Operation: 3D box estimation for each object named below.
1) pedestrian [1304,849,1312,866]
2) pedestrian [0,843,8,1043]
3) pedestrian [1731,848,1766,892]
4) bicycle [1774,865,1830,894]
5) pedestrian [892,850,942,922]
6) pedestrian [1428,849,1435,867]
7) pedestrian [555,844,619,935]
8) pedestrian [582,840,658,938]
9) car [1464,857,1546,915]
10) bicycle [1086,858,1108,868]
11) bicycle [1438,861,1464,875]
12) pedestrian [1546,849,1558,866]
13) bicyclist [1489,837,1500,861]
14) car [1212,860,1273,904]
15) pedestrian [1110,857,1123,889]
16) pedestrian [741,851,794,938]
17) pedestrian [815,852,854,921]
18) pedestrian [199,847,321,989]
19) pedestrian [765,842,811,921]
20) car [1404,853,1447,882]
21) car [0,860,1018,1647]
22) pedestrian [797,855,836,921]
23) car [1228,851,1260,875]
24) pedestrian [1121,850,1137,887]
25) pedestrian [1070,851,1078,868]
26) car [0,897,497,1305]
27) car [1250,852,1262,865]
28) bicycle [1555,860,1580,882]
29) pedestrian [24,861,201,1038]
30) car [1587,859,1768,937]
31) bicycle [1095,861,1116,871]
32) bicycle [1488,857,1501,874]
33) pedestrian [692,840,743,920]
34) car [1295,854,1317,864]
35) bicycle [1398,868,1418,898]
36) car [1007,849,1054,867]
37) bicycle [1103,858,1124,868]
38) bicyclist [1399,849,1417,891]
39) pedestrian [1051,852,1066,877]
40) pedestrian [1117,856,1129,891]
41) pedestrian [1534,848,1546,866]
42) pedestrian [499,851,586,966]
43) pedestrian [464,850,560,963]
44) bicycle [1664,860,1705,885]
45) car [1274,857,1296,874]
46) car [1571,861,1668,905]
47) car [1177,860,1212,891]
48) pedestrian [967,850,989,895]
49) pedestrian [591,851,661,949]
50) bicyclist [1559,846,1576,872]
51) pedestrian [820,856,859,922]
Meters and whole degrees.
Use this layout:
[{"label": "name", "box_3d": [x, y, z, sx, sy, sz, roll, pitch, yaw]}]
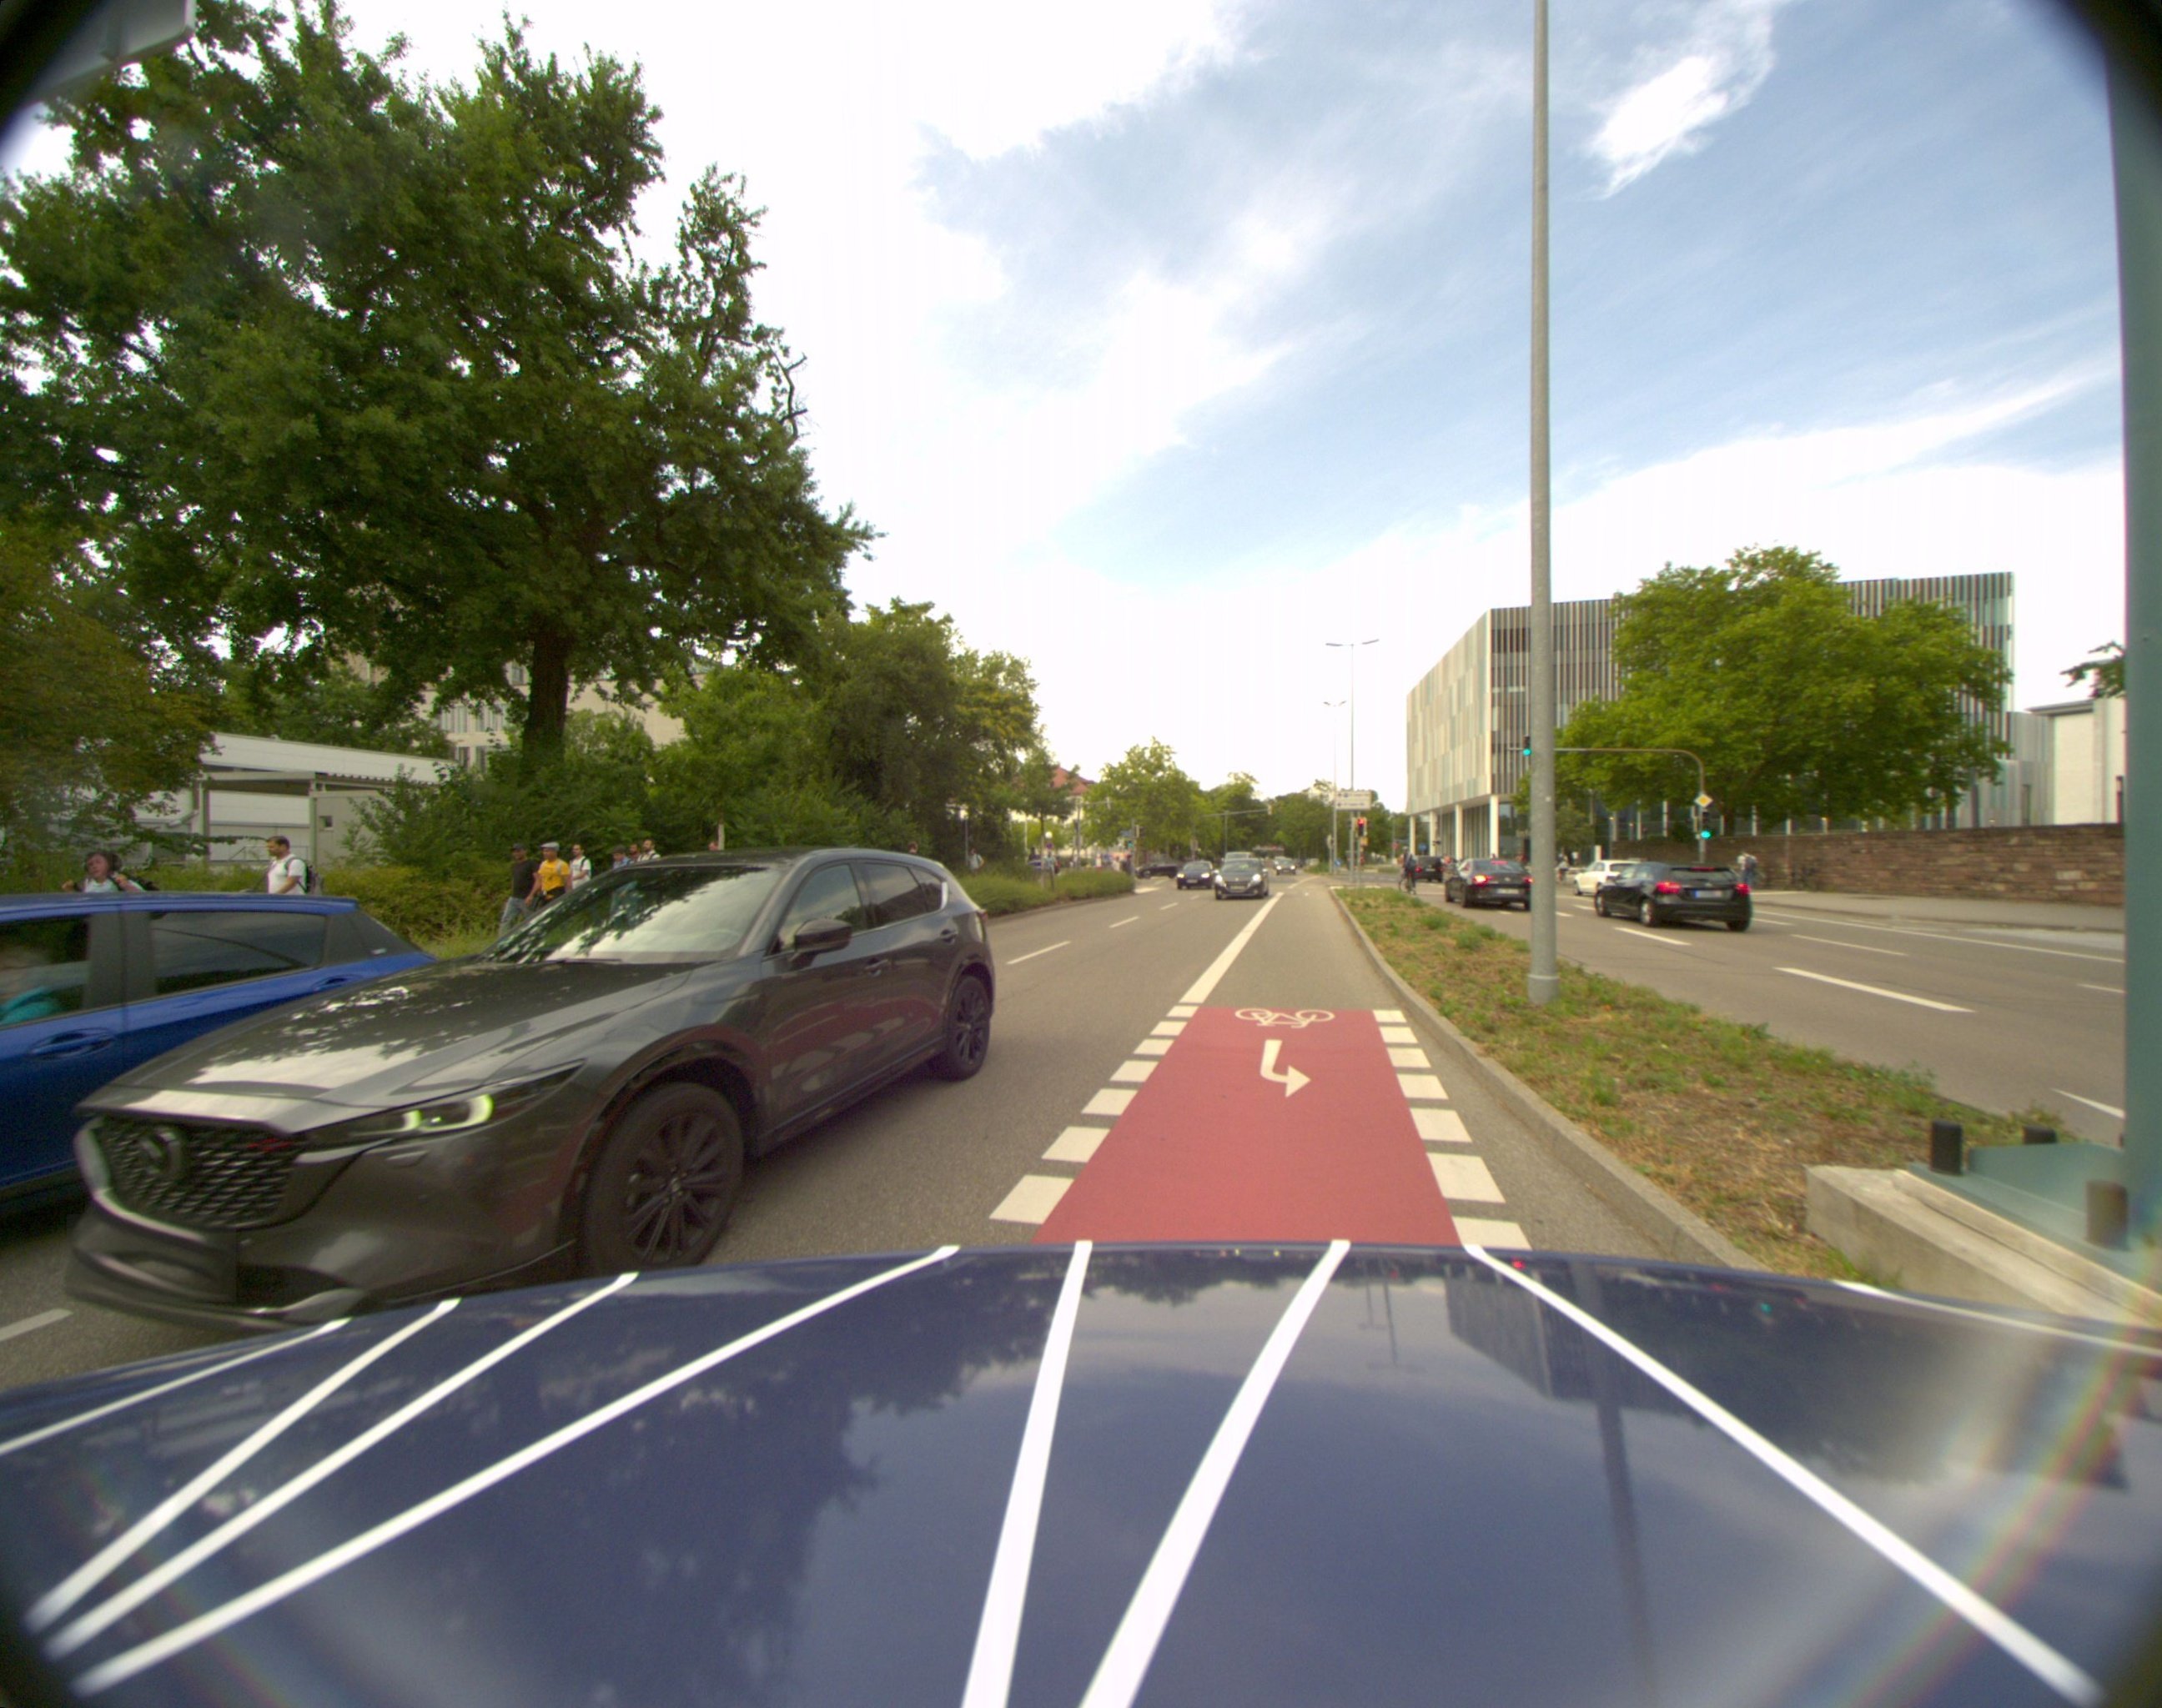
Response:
[{"label": "pedestrian", "box_3d": [24.469, 0.350, 81.997, 0.726, 1.843, 1.065, 0, 0, 12]}, {"label": "pedestrian", "box_3d": [-10.209, 0.806, 6.618, 0.657, 1.810, 0.813, 0, 1, 17]}, {"label": "pedestrian", "box_3d": [27.940, 0.655, 31.806, 0.747, 1.772, 0.782, -1, 2, -18]}, {"label": "bicycle", "box_3d": [28.121, 0.992, 29.669, 0.549, 1.052, 1.982, -3, -1, 10]}, {"label": "pedestrian", "box_3d": [-4.286, 0.807, 19.881, 0.934, 1.820, 0.889, 0, 1, 44]}, {"label": "pedestrian", "box_3d": [35.902, 0.422, 77.764, 0.511, 1.826, 0.625, 0, 0, 13]}, {"label": "pedestrian", "box_3d": [-9.479, 0.656, 14.607, 0.657, 1.689, 0.781, 0, 1, 15]}, {"label": "pedestrian", "box_3d": [-8.713, 0.643, 14.380, 0.657, 1.756, 0.959, -3, 0, 15]}, {"label": "car", "box_3d": [12.030, 0.829, 21.779, 1.803, 1.480, 4.413, 0, 0, 26]}, {"label": "bicycle", "box_3d": [1.820, 1.015, 86.492, 2.469, 1.136, 0.718, -1, 0, 15]}, {"label": "bicycle", "box_3d": [30.817, 1.133, 63.331, 1.894, 1.163, 0.607, 0, 0, -1]}, {"label": "pedestrian", "box_3d": [44.562, 0.348, 71.932, 0.731, 1.591, 0.677, -1, 1, -17]}, {"label": "bicyclist", "box_3d": [31.034, -0.349, 57.052, 0.619, 1.772, 0.812, 0, 1, 21]}, {"label": "car", "box_3d": [6.041, 0.985, 28.055, 1.658, 1.455, 4.006, -2, -1, 19]}, {"label": "pedestrian", "box_3d": [1.853, 0.981, 39.479, 0.546, 1.677, 0.637, 0, 1, 14]}, {"label": "pedestrian", "box_3d": [-6.405, 0.807, 15.565, 0.657, 1.735, 0.781, 0, 1, 15]}, {"label": "pedestrian", "box_3d": [-6.247, 0.806, 19.283, 0.582, 1.735, 0.790, 0, 1, 15]}, {"label": "pedestrian", "box_3d": [-10.518, 0.780, 9.751, 0.722, 1.734, 0.813, 0, 1, 17]}, {"label": "pedestrian", "box_3d": [-6.633, 0.613, 17.212, 0.625, 1.735, 0.781, 0, 1, 15]}, {"label": "car", "box_3d": [21.373, 0.795, 47.256, 1.803, 1.656, 4.306, 2, 1, 17]}, {"label": "car", "box_3d": [-2.043, 0.918, 4.136, 1.902, 1.639, 4.650, -2, 0, 15]}, {"label": "pedestrian", "box_3d": [-7.115, 0.884, 20.449, 0.657, 1.735, 0.781, 0, 1, 15]}, {"label": "car", "box_3d": [12.198, 0.662, 56.767, 1.996, 1.761, 4.005, 0, 0, 17]}, {"label": "pedestrian", "box_3d": [2.231, 0.662, 35.284, 0.602, 1.725, 0.655, 0, 1, 14]}, {"label": "pedestrian", "box_3d": [-0.771, 0.593, 87.387, 0.687, 1.951, 0.601, -2, 0, -26]}, {"label": "car", "box_3d": [-5.083, 1.037, 3.198, 1.700, 1.485, 3.837, 0, 0, 19]}, {"label": "car", "box_3d": [27.013, 0.710, 117.169, 1.793, 1.903, 4.004, 0, 0, 13]}, {"label": "bicycle", "box_3d": [26.713, 0.933, 41.721, 0.582, 1.164, 1.966, 0, 0, 15]}, {"label": "pedestrian", "box_3d": [-9.354, 0.870, 7.362, 0.776, 1.593, 0.813, 0, 1, 17]}, {"label": "car", "box_3d": [13.316, 0.889, 17.312, 1.756, 1.480, 4.383, 1, 0, 17]}, {"label": "bicycle", "box_3d": [2.930, 1.433, 90.992, 2.469, 1.136, 0.718, -1, 0, 15]}, {"label": "bicycle", "box_3d": [31.042, 0.846, 57.047, 0.619, 1.210, 2.048, 0, 0, 21]}, {"label": "pedestrian", "box_3d": [-8.077, 0.562, 16.905, 0.657, 1.735, 0.781, 0, 1, 15]}, {"label": "car", "box_3d": [36.581, 0.796, 123.503, 1.807, 1.480, 4.412, 0, 0, -8]}, {"label": "bicycle", "box_3d": [12.271, 1.080, 28.525, 0.574, 1.049, 1.929, 0, 0, 20]}, {"label": "car", "box_3d": [-4.224, 0.320, 63.828, 3.576, 1.483, 1.676, -1, 1, 13]}, {"label": "bicycle", "box_3d": [3.908, 1.094, 91.577, 2.469, 1.136, 0.718, -1, 0, 15]}, {"label": "bicyclist", "box_3d": [12.269, 0.601, 28.512, 0.572, 1.564, 0.700, 0, 0, 21]}, {"label": "pedestrian", "box_3d": [-1.610, 0.742, 54.374, 0.768, 1.794, 0.893, -2, 0, 18]}, {"label": "pedestrian", "box_3d": [2.090, 0.957, 37.935, 0.454, 1.725, 0.637, 0, 1, 14]}, {"label": "pedestrian", "box_3d": [44.063, 0.267, 72.943, 0.731, 1.730, 0.677, -1, 1, -20]}, {"label": "pedestrian", "box_3d": [-8.151, 0.791, 11.532, 0.657, 1.679, 0.843, 0, 1, 15]}, {"label": "pedestrian", "box_3d": [-8.715, 0.767, 11.675, 0.657, 1.657, 0.972, 0, 1, 15]}, {"label": "bicycle", "box_3d": [29.194, 0.874, 36.784, 0.578, 1.119, 2.167, -3, -1, 12]}, {"label": "car", "box_3d": [18.359, 0.985, 68.381, 1.659, 1.455, 4.004, -2, -1, 12]}, {"label": "car", "box_3d": [19.413, 0.999, 27.577, 1.672, 1.381, 3.927, 2, 1, 17]}, {"label": "car", "box_3d": [5.854, 1.092, 39.298, 1.659, 1.455, 4.003, -2, -1, 8]}, {"label": "pedestrian", "box_3d": [-4.154, 0.746, 30.752, 0.645, 1.785, 0.741, 0, 1, 14]}, {"label": "pedestrian", "box_3d": [-7.922, 0.774, 13.257, 0.657, 1.638, 0.813, 0, 1, 15]}, {"label": "bicyclist", "box_3d": [26.709, 0.280, 41.711, 0.581, 1.410, 0.812, 0, 0, 15]}, {"label": "pedestrian", "box_3d": [-6.437, 0.917, 20.273, 0.657, 1.735, 0.781, 0, 1, 15]}]
